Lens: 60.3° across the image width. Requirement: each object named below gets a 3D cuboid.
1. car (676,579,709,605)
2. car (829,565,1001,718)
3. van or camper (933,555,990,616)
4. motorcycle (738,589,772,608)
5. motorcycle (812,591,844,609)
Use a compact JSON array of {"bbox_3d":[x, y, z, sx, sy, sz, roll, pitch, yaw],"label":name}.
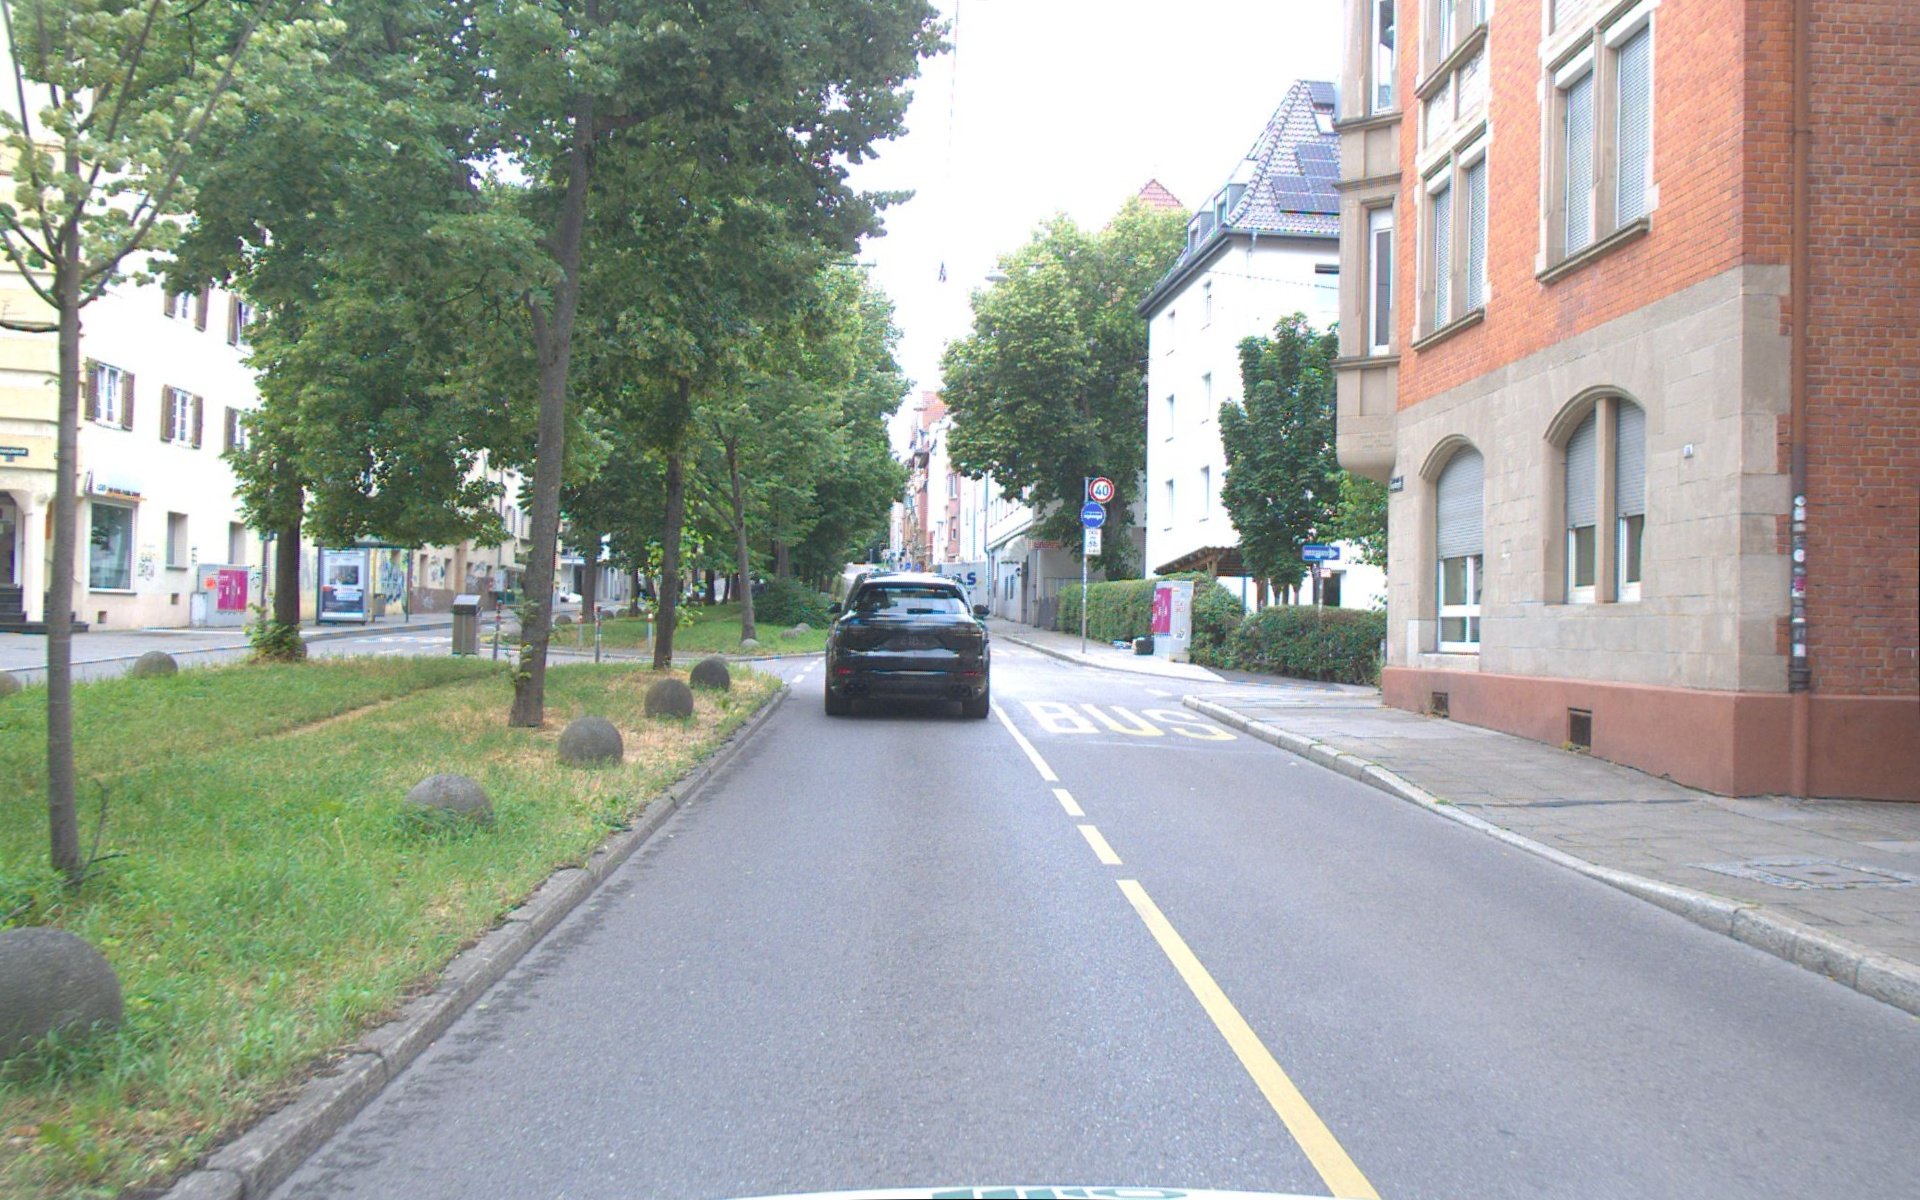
[{"bbox_3d":[-19.021,-0.590,117.765,1.911,1.656,4.360,-5,0,-5],"label":"car"},{"bbox_3d":[-0.664,0.470,20.708,1.866,1.695,4.131,1,0,-5],"label":"car"},{"bbox_3d":[0.006,-0.700,83.073,2.431,2.852,7.233,1,0,-3],"label":"van or camper"},{"bbox_3d":[-14.785,-0.120,119.335,2.336,1.340,1.044,1,0,-5],"label":"motorcycle"},{"bbox_3d":[-9.720,0.020,122.051,2.309,1.257,1.032,1,0,-5],"label":"motorcycle"}]
